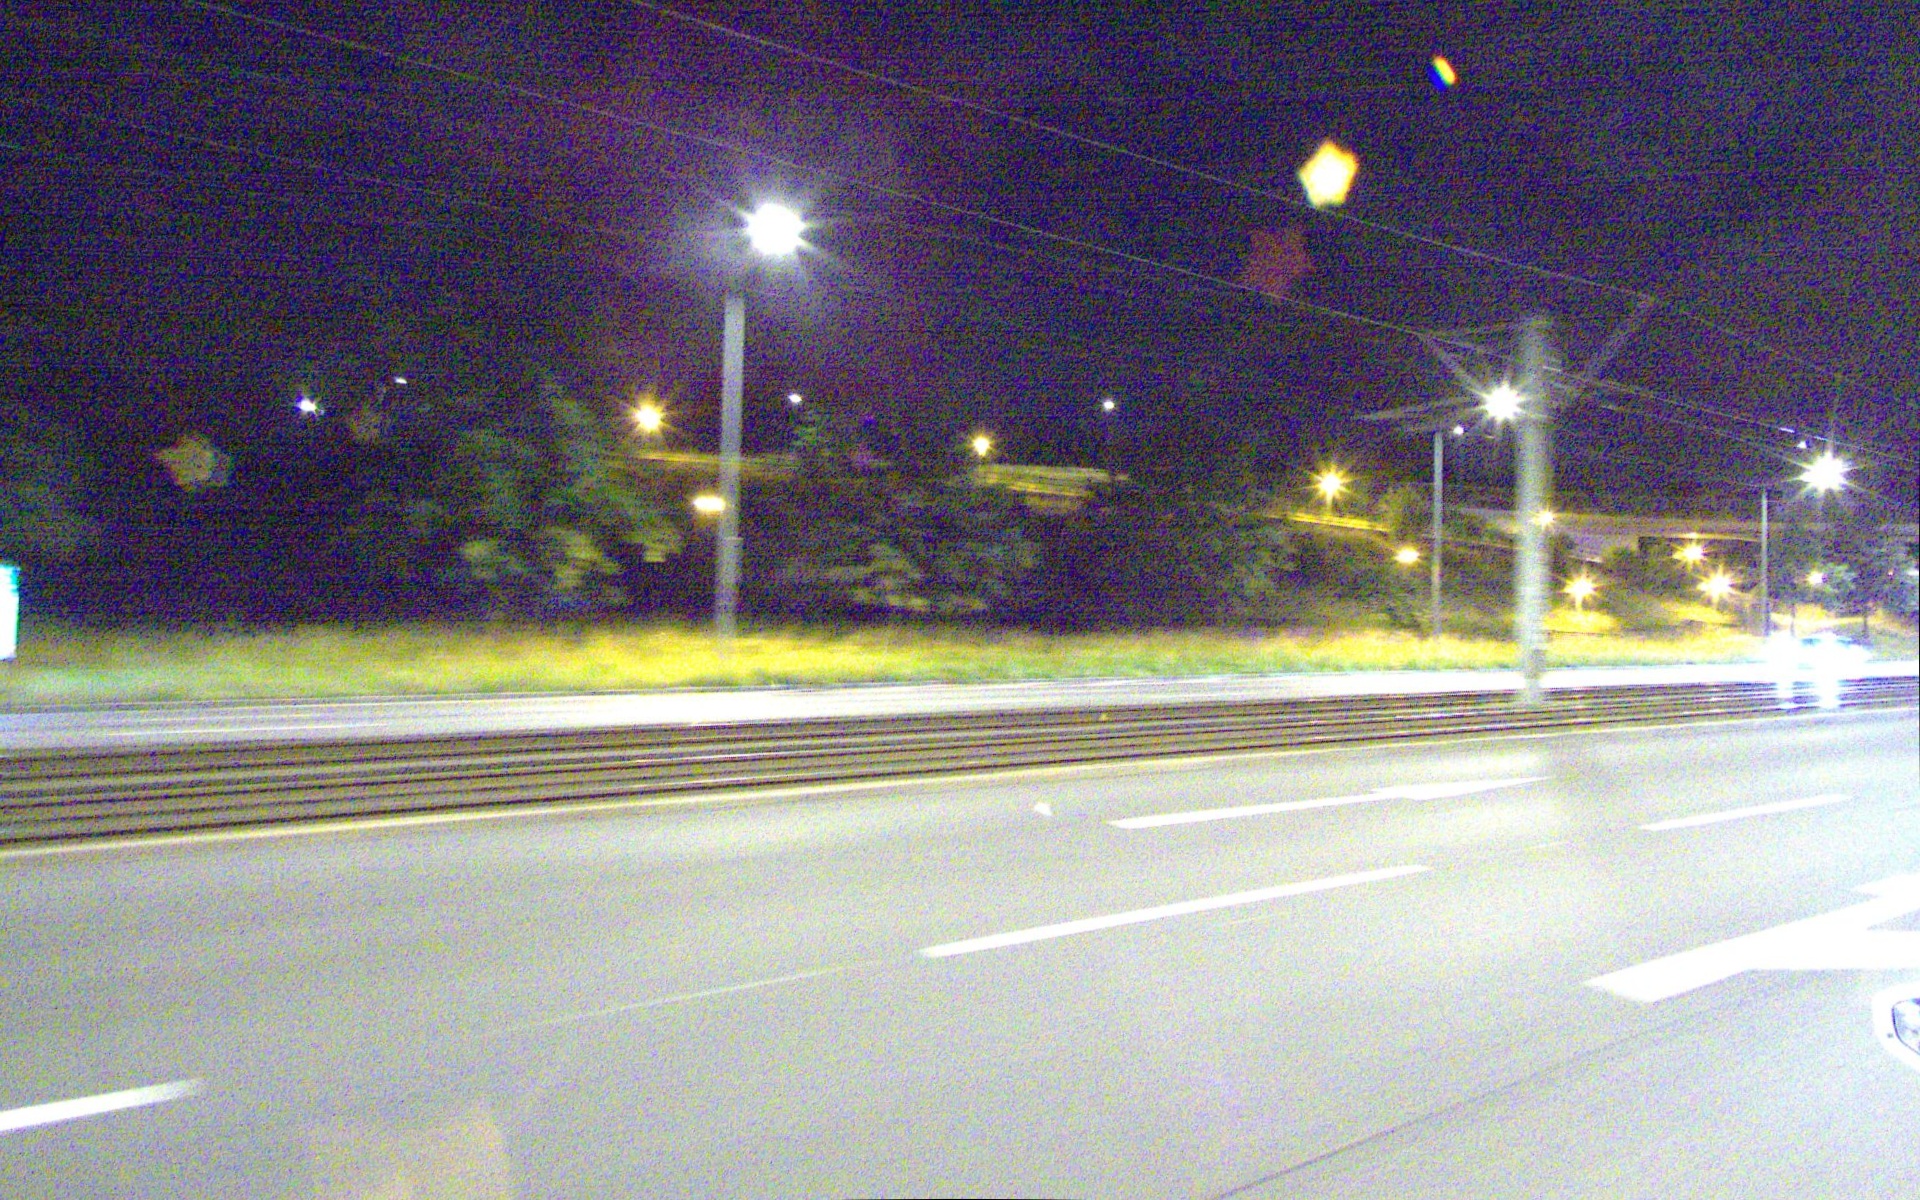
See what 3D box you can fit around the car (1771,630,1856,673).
[{"bbox_3d":[37.910,2.261,44.609,3.659,1.773,1.854,1,-1,-31],"label":"car"}]
